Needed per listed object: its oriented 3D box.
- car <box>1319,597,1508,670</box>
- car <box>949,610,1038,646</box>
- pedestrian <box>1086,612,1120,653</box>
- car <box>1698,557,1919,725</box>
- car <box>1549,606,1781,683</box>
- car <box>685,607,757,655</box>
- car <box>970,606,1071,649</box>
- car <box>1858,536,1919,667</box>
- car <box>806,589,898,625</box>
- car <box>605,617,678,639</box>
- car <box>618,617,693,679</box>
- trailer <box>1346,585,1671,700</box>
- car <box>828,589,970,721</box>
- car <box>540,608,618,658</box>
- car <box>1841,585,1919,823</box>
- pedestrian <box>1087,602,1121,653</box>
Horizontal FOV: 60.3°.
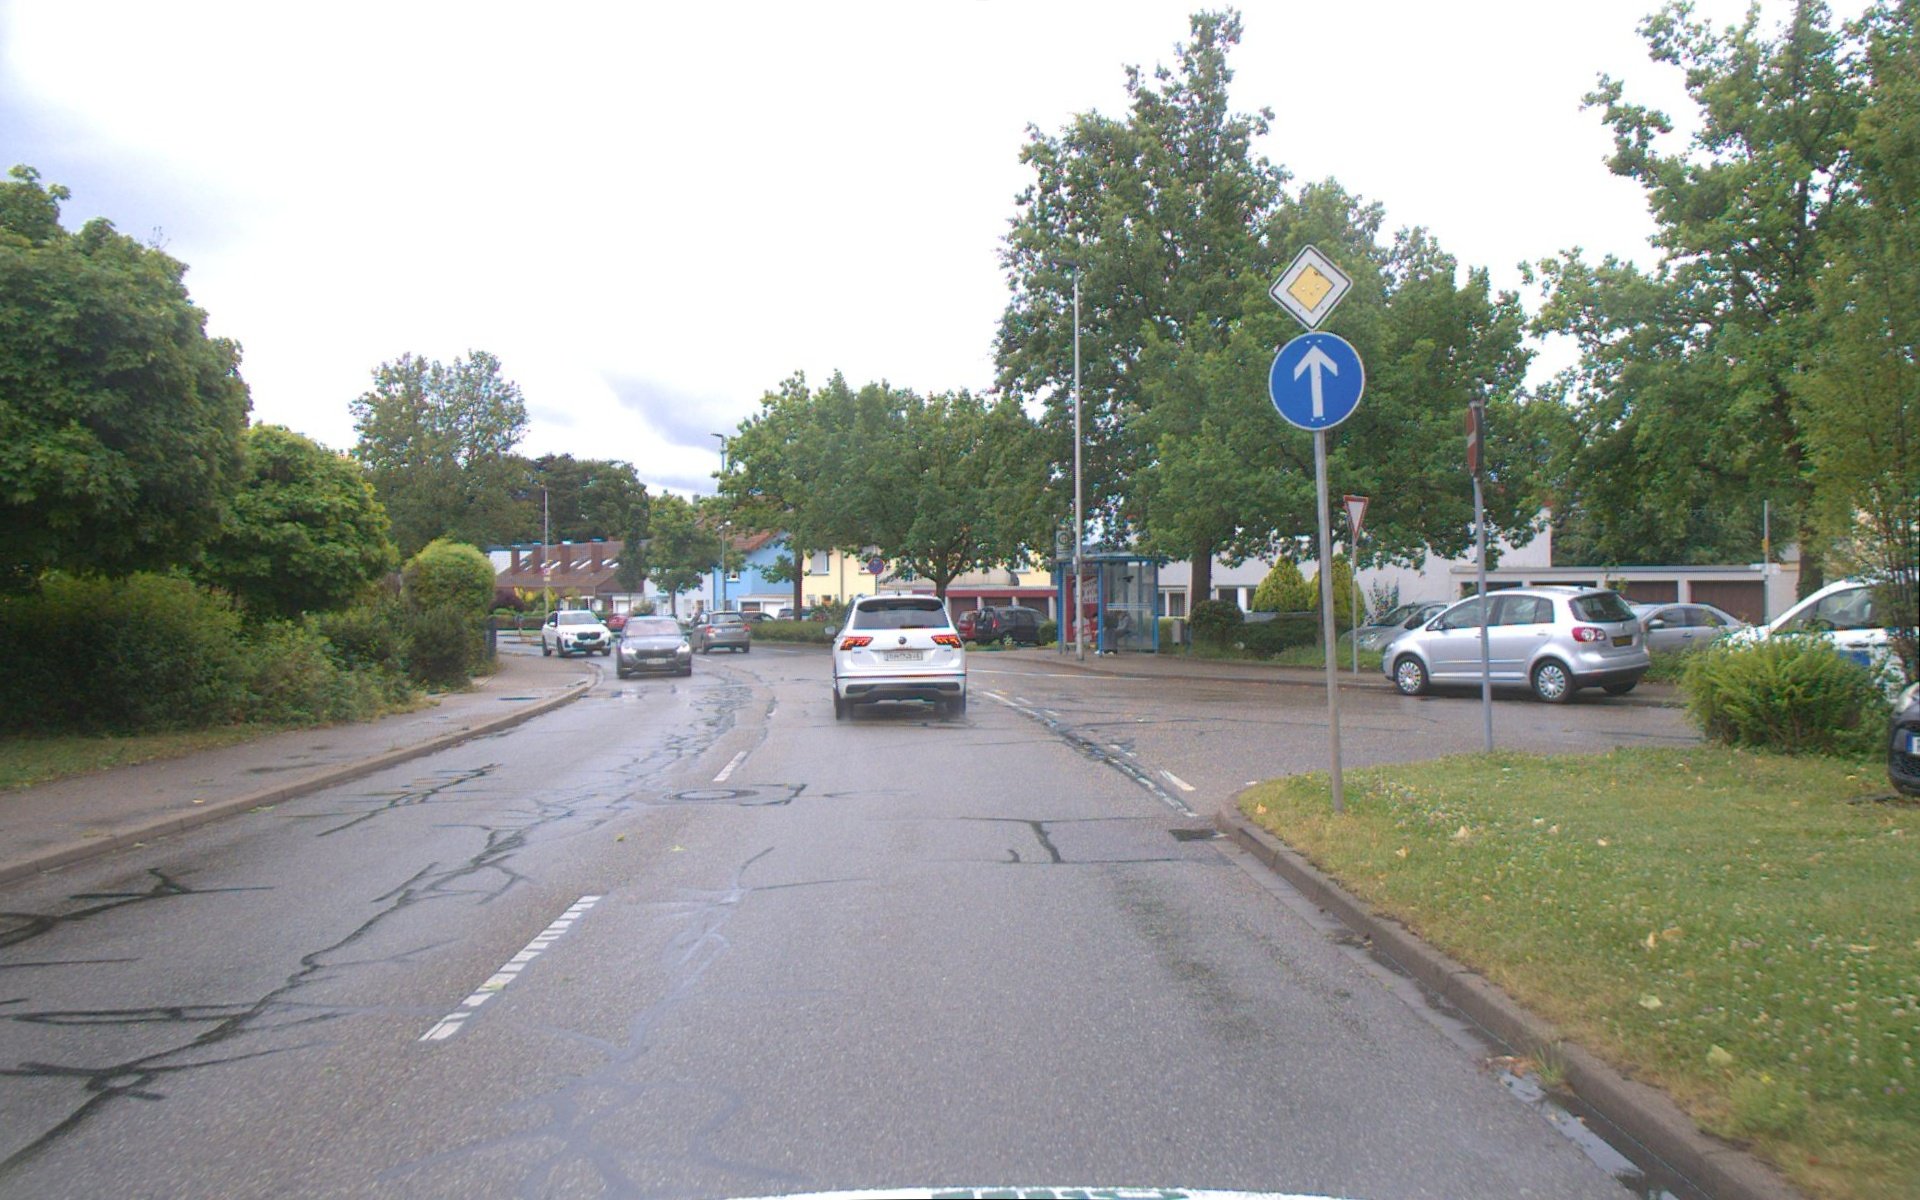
[{"bbox_3d":[9.874,0.715,36.102,3.582,1.512,1.754,0,-1,-13],"label":"car"},{"bbox_3d":[1.463,1.208,72.138,3.666,1.467,1.684,0,-1,-38],"label":"car"},{"bbox_3d":[3.624,0.816,41.938,0.735,1.029,0.550,0,-1,-10],"label":"pedestrian"},{"bbox_3d":[11.416,0.471,20.024,1.974,1.914,4.166,0,-1,-32],"label":"car"},{"bbox_3d":[13.467,0.819,31.627,3.968,1.360,1.724,0,-1,-19],"label":"car"},{"bbox_3d":[-8.457,1.070,58.219,1.743,1.578,3.976,0,0,-20],"label":"car"},{"bbox_3d":[2.569,1.144,69.648,3.959,1.751,1.898,0,-1,-38],"label":"car"},{"bbox_3d":[17.791,-0.033,26.860,5.718,2.049,1.994,-1,0,-12],"label":"car"},{"bbox_3d":[-5.293,0.351,81.251,4.146,1.701,1.967,0,-1,-36],"label":"car"},{"bbox_3d":[-19.653,1.747,102.132,1.650,1.283,4.288,0,-1,43],"label":"car"},{"bbox_3d":[-7.636,1.166,41.265,1.710,1.439,4.129,-1,0,-12],"label":"car"},{"bbox_3d":[8.190,0.605,25.045,1.977,1.570,4.371,-1,0,-35],"label":"trailer"},{"bbox_3d":[-0.835,0.724,23.625,1.827,1.679,3.999,-1,0,-1],"label":"car"},{"bbox_3d":[-14.198,1.189,61.454,1.866,1.639,4.828,-2,1,-24],"label":"car"},{"bbox_3d":[8.152,0.592,10.325,4.486,1.468,1.761,-1,0,-7],"label":"car"},{"bbox_3d":[3.567,0.680,41.087,0.713,1.272,0.550,0,-1,-10],"label":"pedestrian"}]
